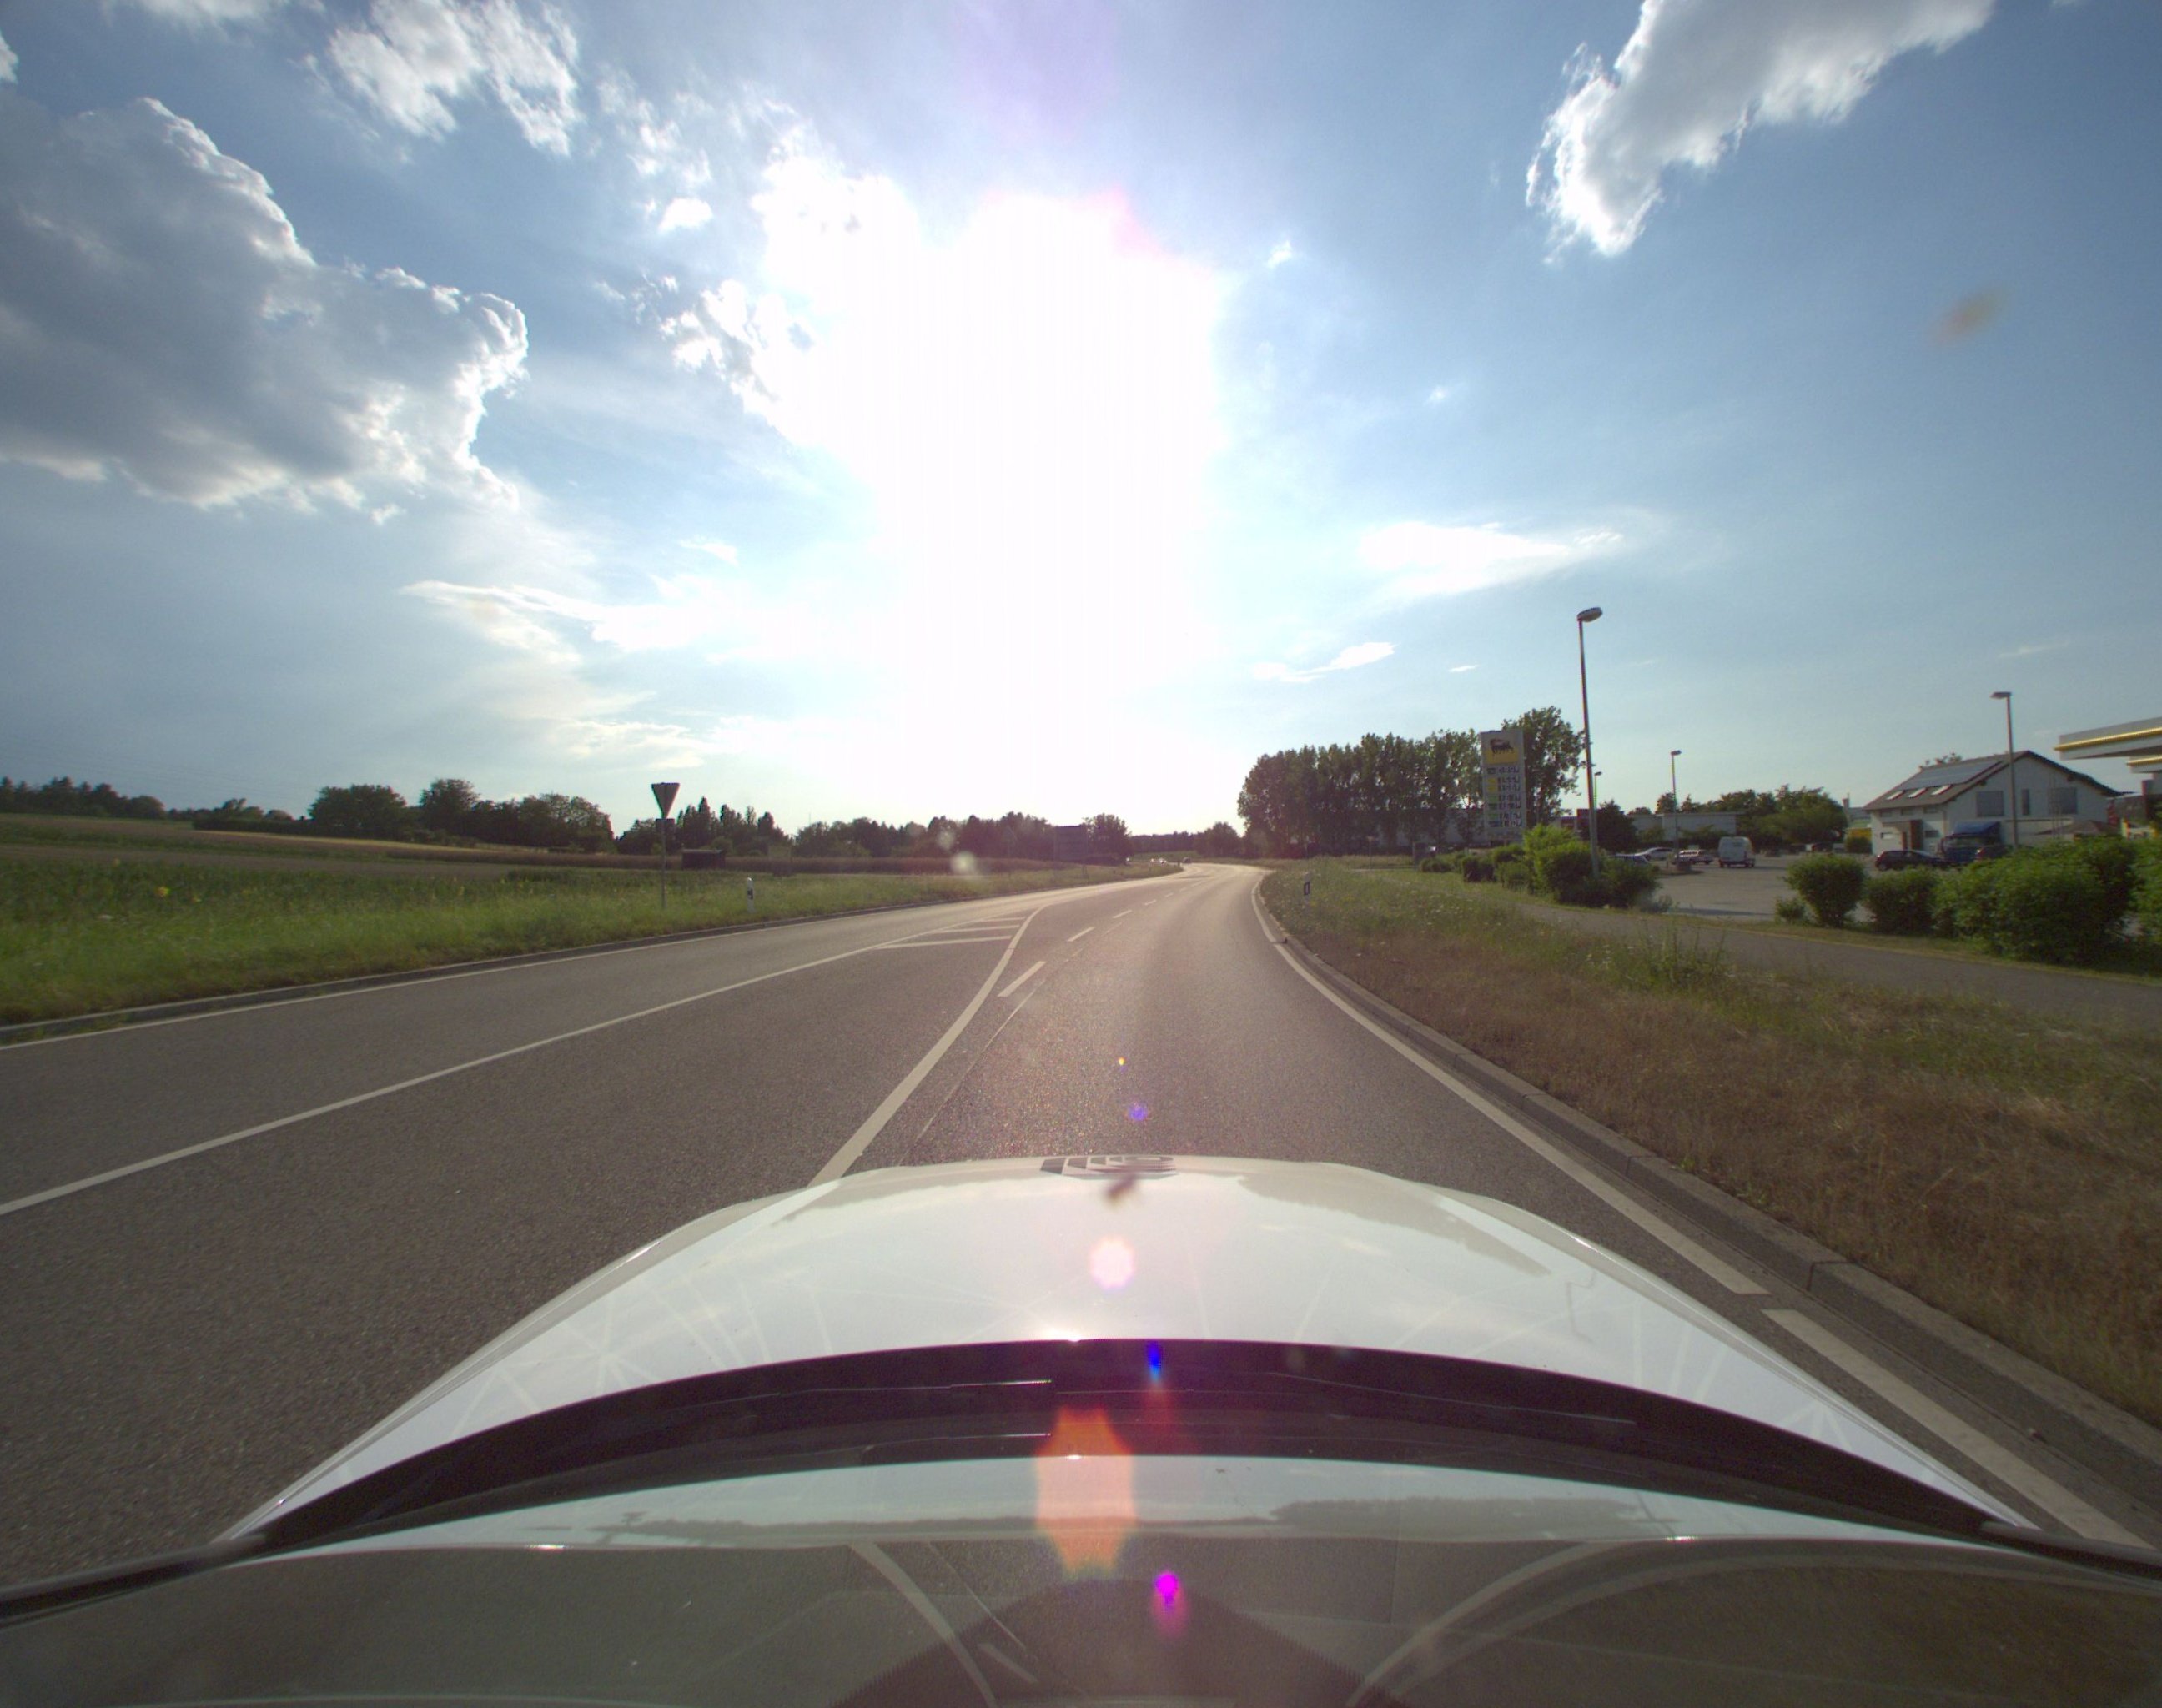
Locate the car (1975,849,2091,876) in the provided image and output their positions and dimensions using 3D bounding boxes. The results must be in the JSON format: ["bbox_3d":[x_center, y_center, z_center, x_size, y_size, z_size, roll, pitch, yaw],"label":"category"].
[{"bbox_3d":[59.882,0.542,51.351,1.850,1.635,4.394,1,-1,-19],"label":"car"}]

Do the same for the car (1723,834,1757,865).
[{"bbox_3d":[58.139,-0.364,71.834,2.208,2.519,6.860,0,-2,40],"label":"car"}]

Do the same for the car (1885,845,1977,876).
[{"bbox_3d":[58.508,0.434,56.135,1.767,2.014,4.067,1,-1,-15],"label":"car"}]

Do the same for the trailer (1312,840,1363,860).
[{"bbox_3d":[47.262,-0.699,150.515,2.687,3.142,13.207,1,-3,-13],"label":"trailer"}]

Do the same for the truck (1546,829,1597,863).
[{"bbox_3d":[58.145,-0.921,96.641,2.248,3.916,5.090,1,-1,-16],"label":"truck"}]

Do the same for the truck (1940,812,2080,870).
[{"bbox_3d":[64.229,-0.847,56.367,7.986,3.688,2.757,1,-1,-11],"label":"truck"}]

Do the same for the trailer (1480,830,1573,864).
[{"bbox_3d":[56.552,-0.793,104.056,2.244,3.916,13.669,1,-1,-11],"label":"trailer"}]

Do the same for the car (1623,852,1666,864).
[{"bbox_3d":[68.537,0.520,99.181,2.131,1.378,4.498,1,-1,-1],"label":"car"}]

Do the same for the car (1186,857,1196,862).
[{"bbox_3d":[27.132,1.472,200.978,1.962,1.151,3.864,1,-1,-1],"label":"car"}]

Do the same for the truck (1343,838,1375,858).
[{"bbox_3d":[48.901,-1.050,143.447,2.624,3.162,5.682,1,-2,-14],"label":"truck"}]

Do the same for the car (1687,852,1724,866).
[{"bbox_3d":[64.556,0.540,84.240,1.553,1.378,3.133,1,-1,4],"label":"car"}]

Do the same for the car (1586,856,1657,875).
[{"bbox_3d":[37.565,0.792,56.662,1.602,1.202,3.887,3,-2,-22],"label":"car"}]
